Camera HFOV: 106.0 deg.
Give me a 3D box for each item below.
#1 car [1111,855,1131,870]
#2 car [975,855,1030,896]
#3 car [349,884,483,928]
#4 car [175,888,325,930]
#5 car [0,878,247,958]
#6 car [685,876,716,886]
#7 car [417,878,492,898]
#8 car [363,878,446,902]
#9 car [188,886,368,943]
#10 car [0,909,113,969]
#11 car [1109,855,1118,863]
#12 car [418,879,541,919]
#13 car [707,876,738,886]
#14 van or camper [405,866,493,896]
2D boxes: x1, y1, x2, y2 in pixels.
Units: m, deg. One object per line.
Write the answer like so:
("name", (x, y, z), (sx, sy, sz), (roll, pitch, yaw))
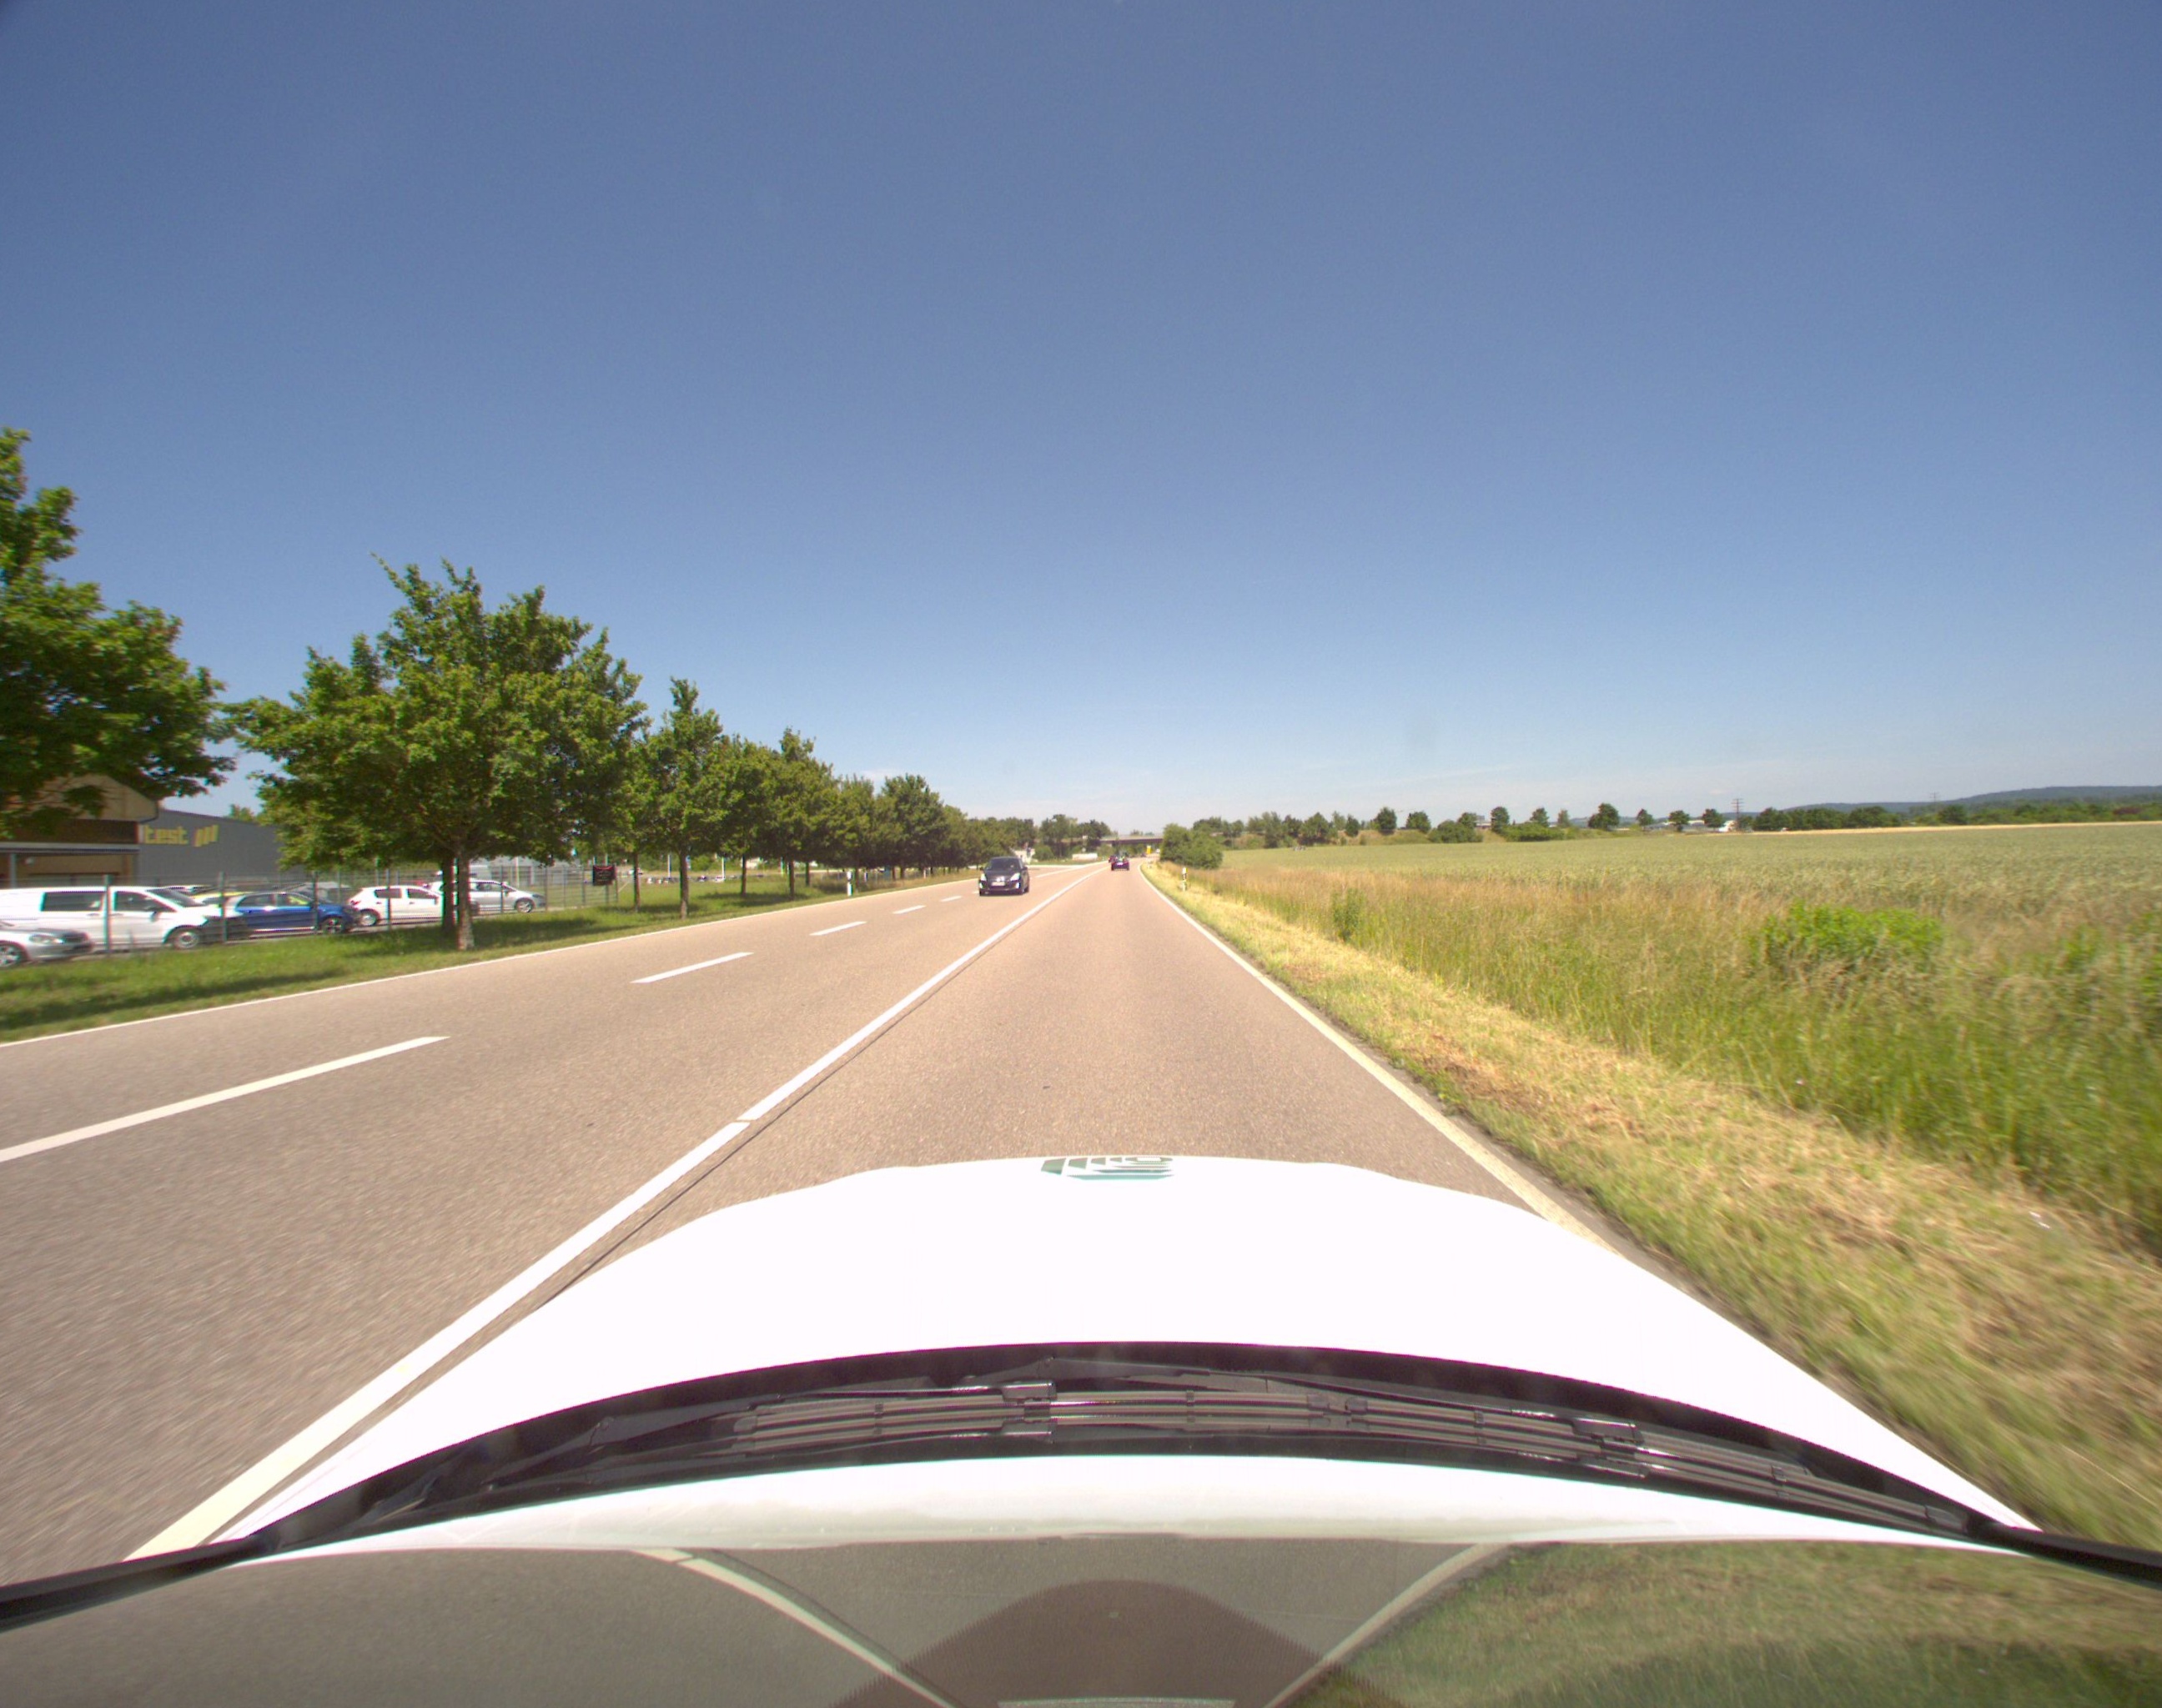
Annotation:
("car", (3.911, 0.805, 80.052), (1.808, 1.441, 4.000), (0, 0, 0))
("car", (-3.084, 0.822, 32.782), (1.673, 1.499, 3.888), (-1, 0, 2))
("car", (-26.271, 2.016, 32.342), (4.012, 1.480, 1.654), (-1, 0, -38))
("car", (-32.864, 2.128, 32.382), (4.021, 1.398, 1.718), (-1, 0, -41))
("car", (-27.317, 1.733, 23.153), (4.680, 1.954, 1.809), (-1, 0, -31))
("car", (-59.869, 4.290, 128.110), (1.974, 1.394, 4.025), (-2, -1, 30))
("car", (-47.287, 2.522, 61.552), (3.994, 1.354, 1.990), (-1, -1, -15))
("car", (-46.612, 2.444, 56.194), (3.980, 1.508, 1.925), (-1, -1, -5))
("car", (-26.848, 1.966, 27.458), (4.016, 1.596, 1.979), (-1, 0, -35))
("car", (-26.402, 2.088, 19.517), (3.685, 1.265, 1.801), (-1, 0, -25))
("car", (6.398, 0.985, 158.883), (1.735, 1.411, 4.627), (0, 0, 2))
("car", (-26.921, 1.990, 36.576), (4.363, 1.543, 1.571), (-1, 0, -38))
("car", (-55.955, 4.248, 127.218), (1.974, 1.394, 4.025), (-2, -1, 30))
("van or camper", (-52.678, 2.190, 68.098), (2.456, 2.363, 6.532), (-1, -1, -2))
